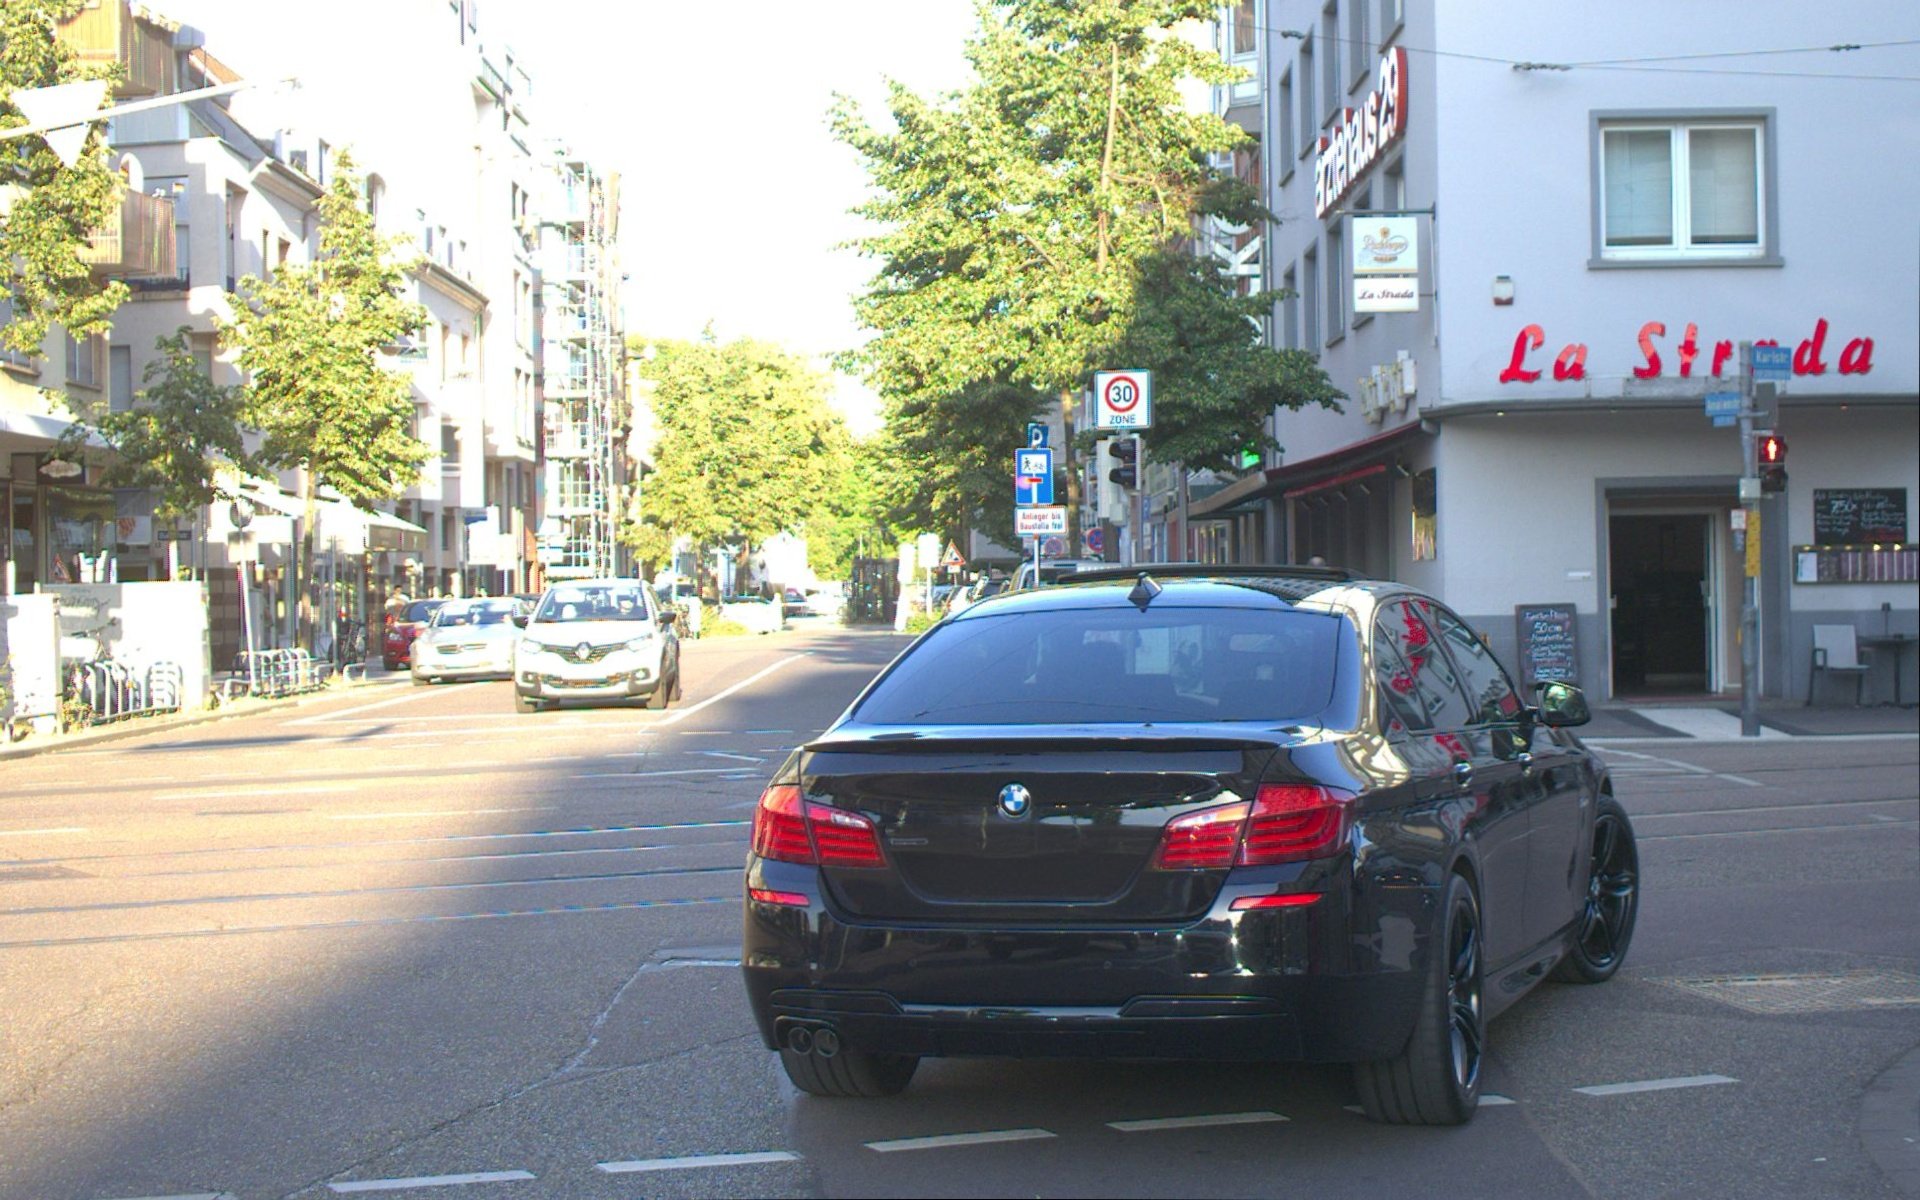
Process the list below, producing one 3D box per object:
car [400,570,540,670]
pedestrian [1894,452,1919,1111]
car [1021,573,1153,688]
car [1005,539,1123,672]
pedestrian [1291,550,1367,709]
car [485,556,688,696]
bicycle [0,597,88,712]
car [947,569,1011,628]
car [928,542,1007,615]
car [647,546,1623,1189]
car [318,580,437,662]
[{"bbox_3d":[-8.080,0.309,56.980,1.834,1.551,3.780,-2,0,-2],"label":"car"},{"bbox_3d":[2.850,0.476,8.867,0.651,1.736,0.694,-1,0,-1],"label":"pedestrian"},{"bbox_3d":[1.660,0.373,44.939,1.640,1.439,3.606,-1,0,2],"label":"car"},{"bbox_3d":[1.569,0.047,51.510,1.640,1.867,3.607,2,1,2],"label":"car"},{"bbox_3d":[3.929,0.311,36.617,0.711,1.670,0.703,-1,0,-1],"label":"pedestrian"},{"bbox_3d":[-4.485,0.316,41.842,2.108,1.551,4.013,-2,0,-2],"label":"car"},{"bbox_3d":[-10.891,0.591,37.945,2.366,1.248,0.640,1,0,-4],"label":"bicycle"},{"bbox_3d":[0.618,-0.053,108.833,1.851,1.788,4.000,-2,0,2],"label":"car"},{"bbox_3d":[0.217,-0.535,88.232,1.851,1.788,4.000,1,0,2],"label":"car"},{"bbox_3d":[0.791,0.588,10.404,1.955,1.493,4.461,0,1,17],"label":"car"},{"bbox_3d":[-11.735,0.419,69.419,1.834,1.551,3.780,-2,0,-2],"label":"car"}]
